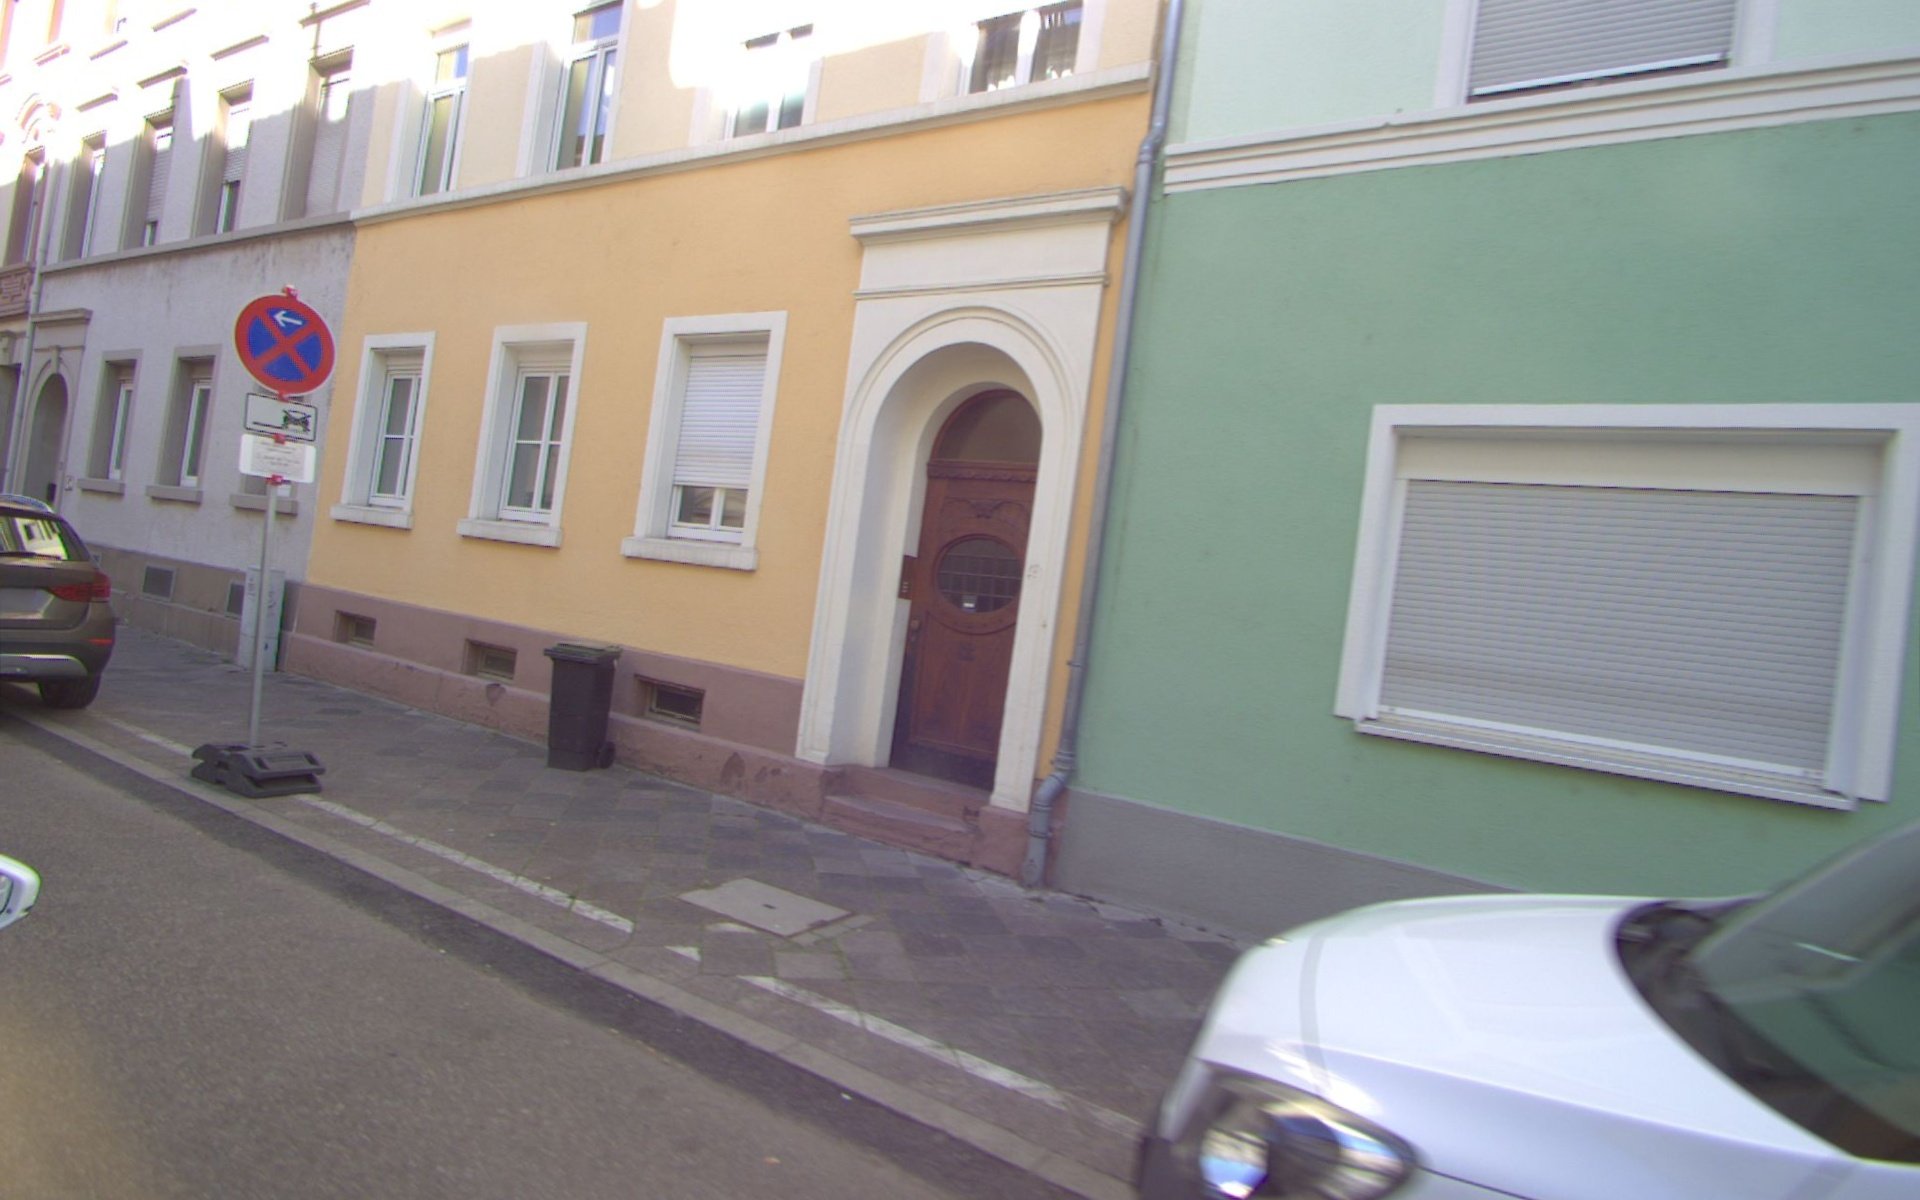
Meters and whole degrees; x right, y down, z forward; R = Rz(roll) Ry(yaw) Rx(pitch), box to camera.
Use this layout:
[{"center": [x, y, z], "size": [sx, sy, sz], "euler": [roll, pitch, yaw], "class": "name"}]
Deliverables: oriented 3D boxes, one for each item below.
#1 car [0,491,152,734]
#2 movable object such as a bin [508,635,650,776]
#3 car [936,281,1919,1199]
[{"center": [-8.232, -0.153, 7.679], "size": [4.304, 1.595, 1.743], "euler": [8, -1, 32], "class": "car"}, {"center": [-2.895, 0.793, 7.665], "size": [0.632, 0.946, 0.655], "euler": [7, -1, 29], "class": "movable object such as a bin"}, {"center": [2.270, 0.846, 1.252], "size": [4.263, 1.984, 1.786], "euler": [7, -2, 31], "class": "car"}]
